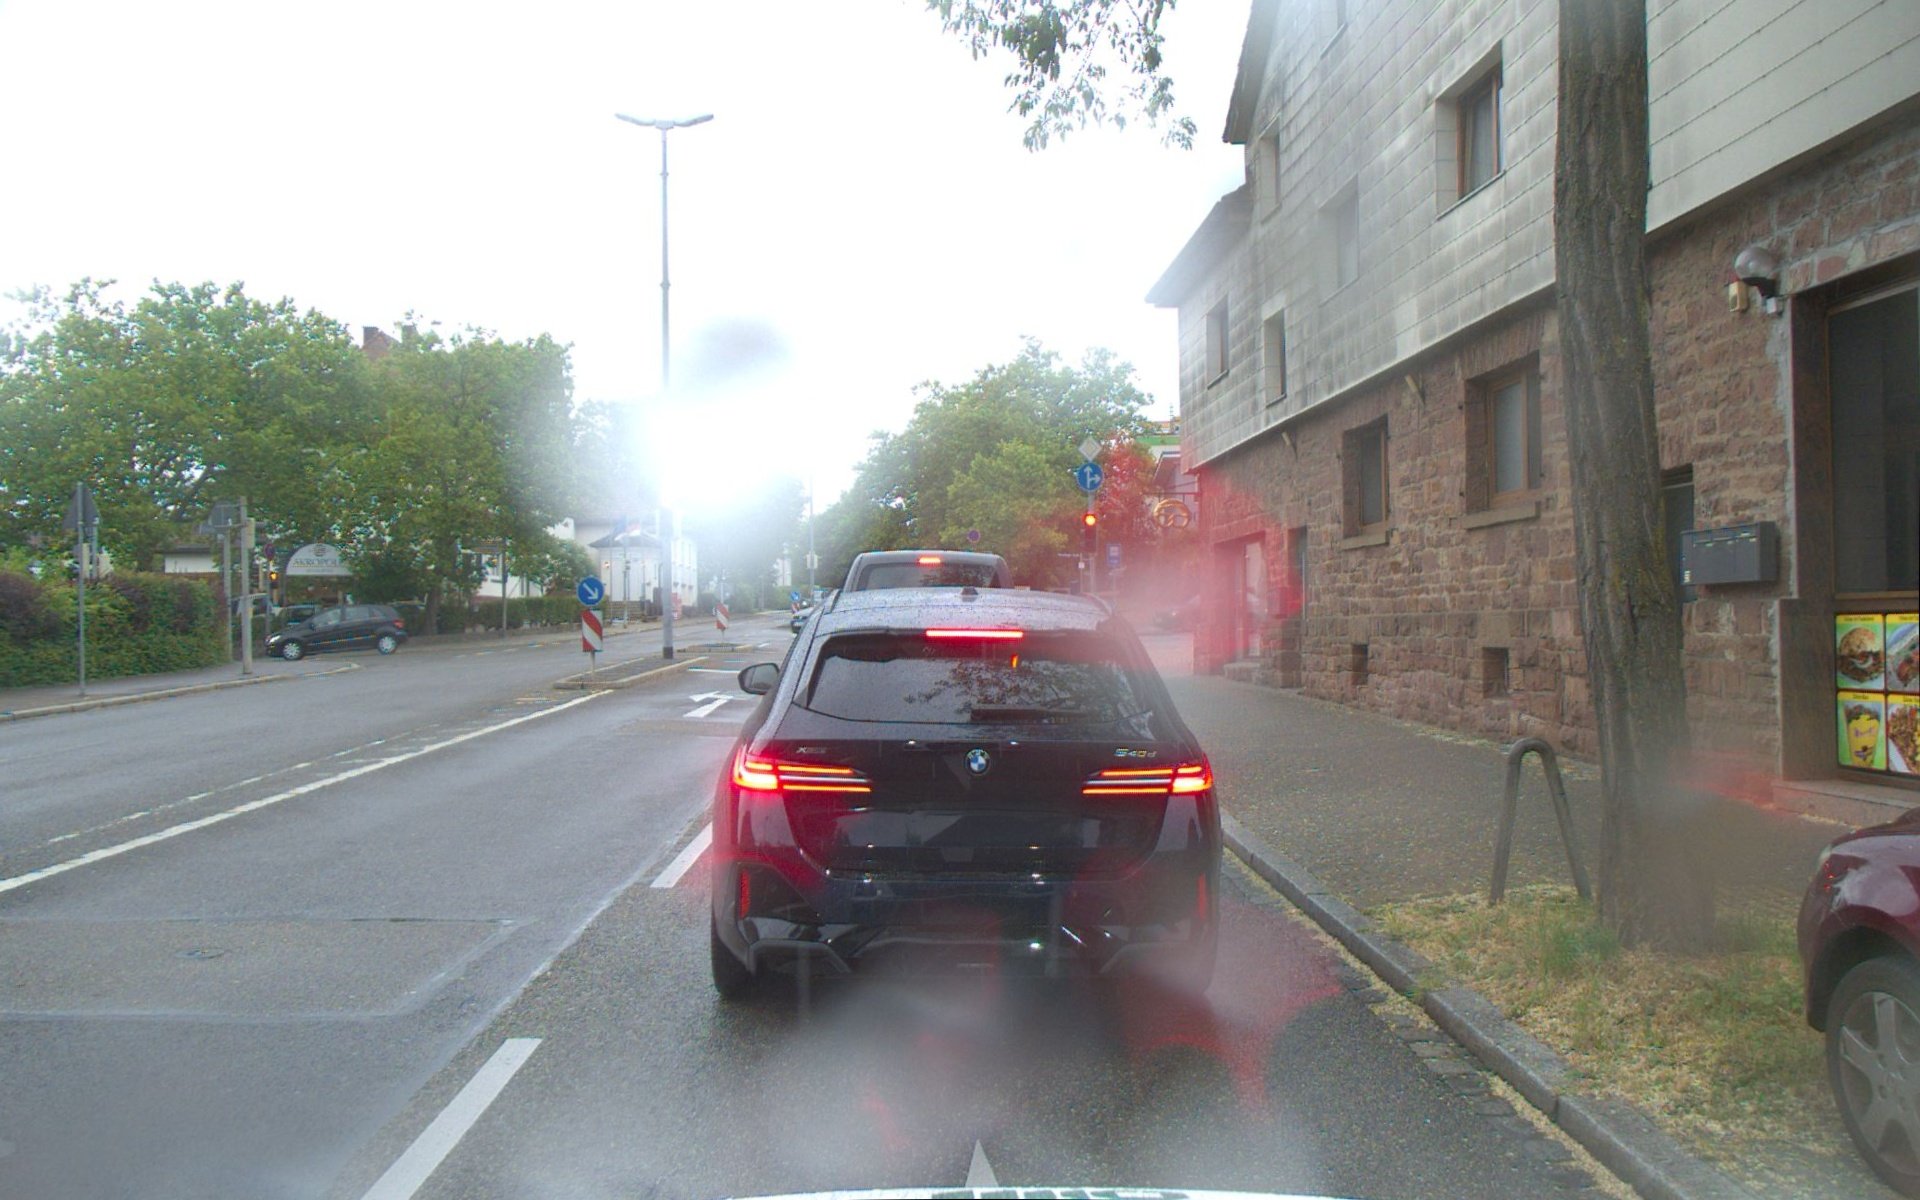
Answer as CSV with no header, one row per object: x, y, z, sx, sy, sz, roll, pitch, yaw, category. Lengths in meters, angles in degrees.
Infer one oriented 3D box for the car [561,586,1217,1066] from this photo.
-0.333,0.705,7.389,2.023,1.472,4.480,1,0,-3,car

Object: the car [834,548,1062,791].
-0.187,0.515,14.646,1.748,1.849,3.998,0,0,-3,car

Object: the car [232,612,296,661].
-23.799,1.216,56.664,1.966,1.579,3.973,0,0,-22,car

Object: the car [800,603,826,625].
-9.607,0.905,108.177,1.435,1.422,3.321,0,0,-1,car

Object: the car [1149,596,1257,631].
9.122,0.505,62.329,3.903,1.311,1.849,0,0,3,car

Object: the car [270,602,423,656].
-19.109,0.909,51.687,4.402,1.614,2.059,1,0,-20,car

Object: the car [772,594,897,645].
-3.987,0.584,52.990,1.960,1.536,3.940,0,0,36,car

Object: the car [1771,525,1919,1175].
3.046,0.560,2.608,1.552,1.516,3.625,-3,1,-3,car
